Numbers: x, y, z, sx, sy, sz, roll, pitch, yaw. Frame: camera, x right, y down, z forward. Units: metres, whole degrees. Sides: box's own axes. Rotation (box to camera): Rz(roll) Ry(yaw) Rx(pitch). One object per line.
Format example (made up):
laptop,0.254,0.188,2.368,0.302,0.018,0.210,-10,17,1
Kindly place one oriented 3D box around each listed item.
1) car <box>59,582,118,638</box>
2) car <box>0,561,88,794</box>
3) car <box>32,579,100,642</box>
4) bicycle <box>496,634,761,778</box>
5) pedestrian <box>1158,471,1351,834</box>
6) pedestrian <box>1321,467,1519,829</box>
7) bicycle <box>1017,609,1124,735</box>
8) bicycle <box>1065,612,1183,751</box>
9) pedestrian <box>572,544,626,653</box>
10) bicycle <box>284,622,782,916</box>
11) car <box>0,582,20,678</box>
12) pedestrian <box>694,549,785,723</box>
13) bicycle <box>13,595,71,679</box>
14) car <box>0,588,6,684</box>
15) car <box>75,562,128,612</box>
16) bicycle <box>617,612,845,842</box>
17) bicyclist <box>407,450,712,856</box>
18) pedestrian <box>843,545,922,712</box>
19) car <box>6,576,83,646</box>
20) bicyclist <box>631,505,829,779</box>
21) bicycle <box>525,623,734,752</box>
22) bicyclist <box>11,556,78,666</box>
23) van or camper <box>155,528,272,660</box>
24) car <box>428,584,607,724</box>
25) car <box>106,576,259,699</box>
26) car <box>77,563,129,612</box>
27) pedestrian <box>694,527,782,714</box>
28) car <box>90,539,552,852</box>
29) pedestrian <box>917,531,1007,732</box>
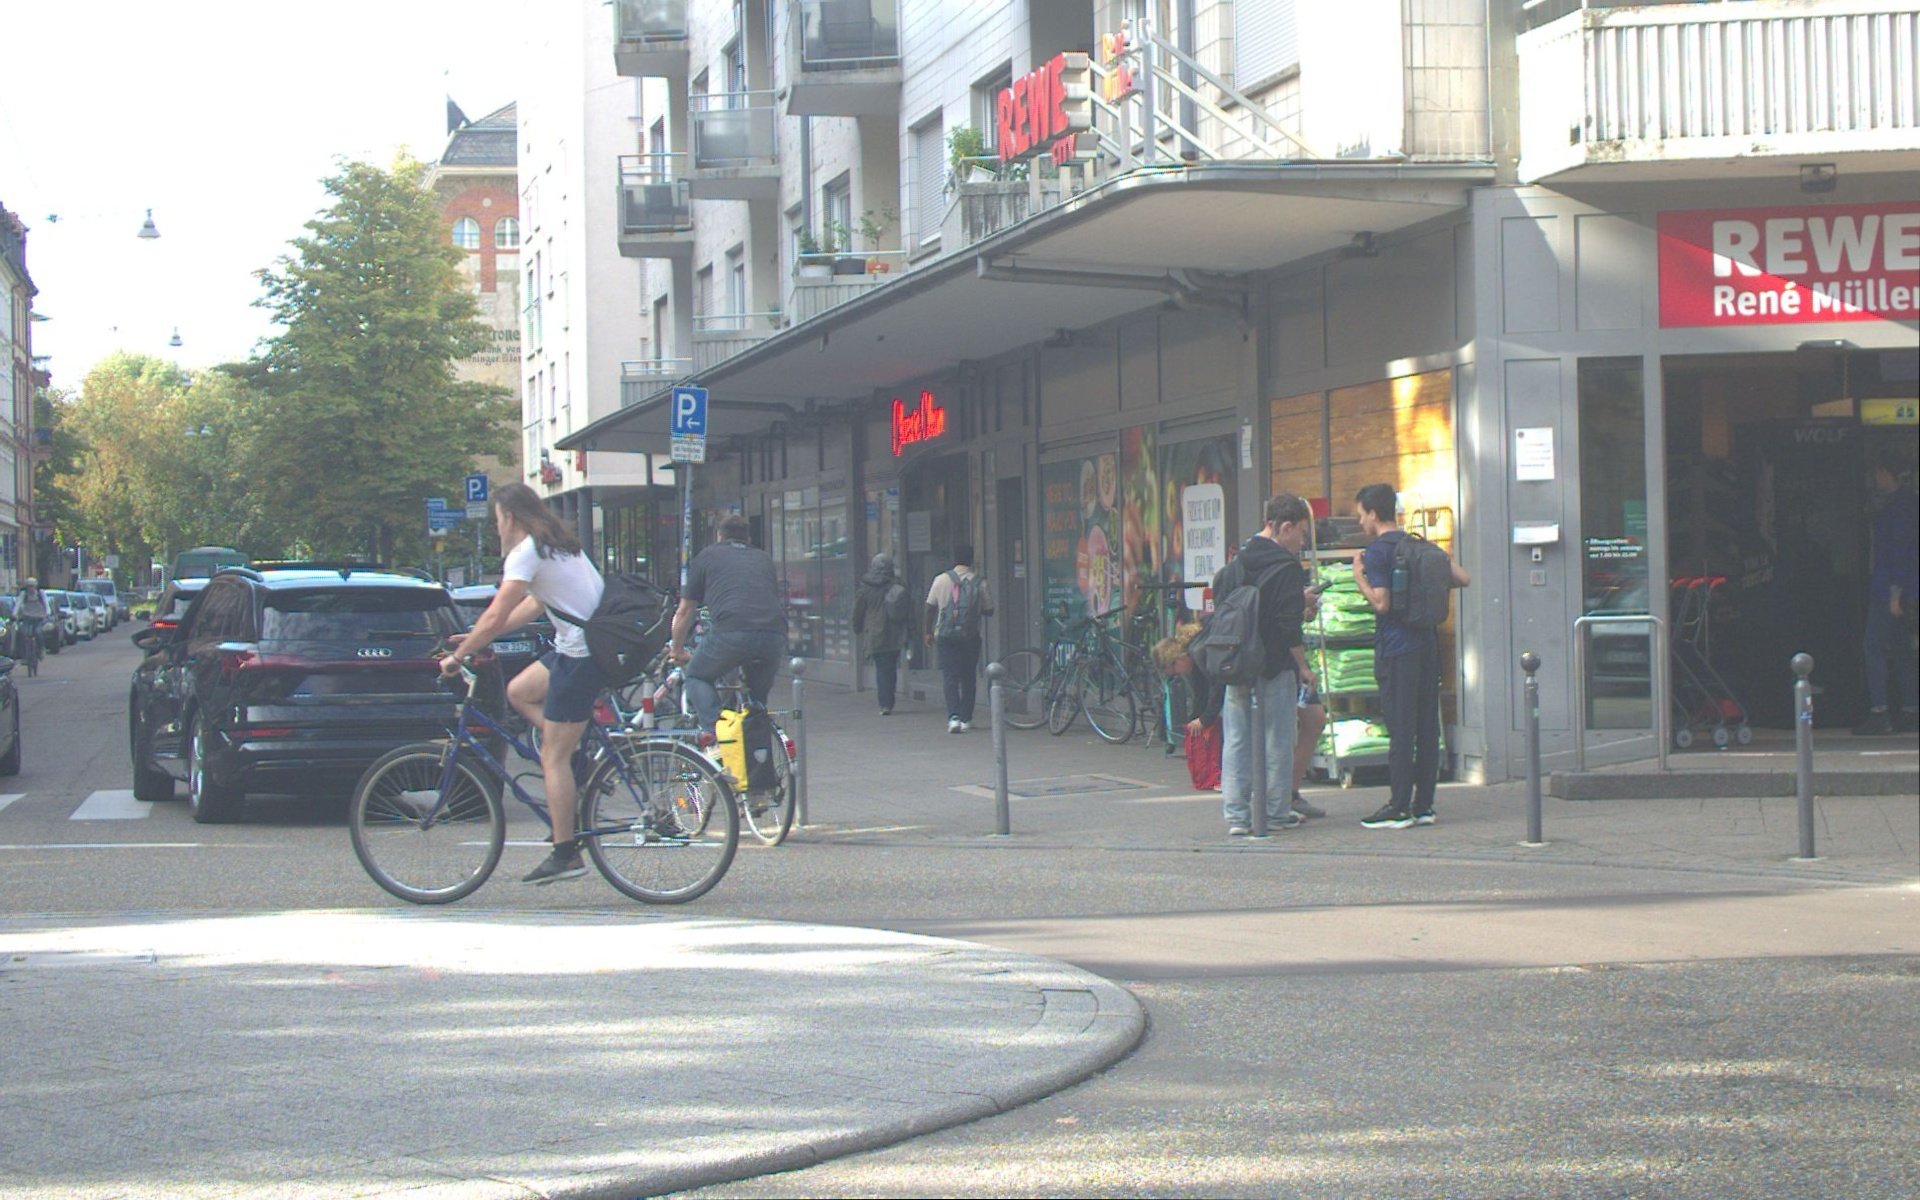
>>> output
car,-32.661,0.364,128.920,1.993,2.007,4.001,-1,1,-12
car,-8.279,0.593,27.706,1.927,1.719,4.737,-3,1,-9
car,-29.699,0.340,114.274,1.993,2.007,4.001,-1,1,-12
bicycle,-2.584,0.818,26.792,2.000,1.042,0.532,-1,0,-9
pedestrian,1.531,0.265,17.946,0.868,1.845,0.612,-1,0,-7
pedestrian,2.404,0.243,18.012,0.868,1.845,0.612,-1,0,-7
bicycle,0.909,0.580,28.593,0.360,0.995,1.716,-1,1,-16
bicycle,1.241,0.609,26.253,0.362,1.013,1.431,-1,1,-20
pedestrian,-6.783,-0.033,64.503,0.900,2.007,0.735,-1,0,-11
bicycle,-1.815,0.714,14.694,1.970,1.195,0.712,-1,0,12
car,-21.364,0.635,73.957,1.993,2.007,4.001,-1,1,-13
pedestrian,-2.077,0.333,32.497,0.730,1.605,0.790,-1,1,3
bicycle,-17.029,0.668,63.737,0.925,1.484,3.465,1,0,-16
car,-18.174,0.755,60.852,1.927,1.718,4.289,-3,2,-9
car,-35.642,-0.552,142.761,1.993,2.007,4.001,-1,1,-12
bicycle,-1.310,0.664,19.106,0.665,1.174,2.498,0,0,-18
bicyclist,-1.693,0.219,14.668,1.013,1.663,0.943,-1,0,12
pedestrian,-0.763,0.275,33.990,0.745,1.623,0.812,-1,0,-1
car,-27.149,0.305,102.092,1.993,2.007,4.001,-1,1,-12
bicyclist,-1.279,0.228,19.050,0.933,1.479,0.747,0,0,-18
bicycle,-2.813,0.732,29.410,0.680,1.023,1.786,-1,1,41
bicyclist,-16.977,0.202,63.735,1.132,1.991,1.028,1,0,-16
van or camper,-17.851,-0.153,82.089,2.530,3.027,4.460,-1,1,-14
car,-4.812,0.540,37.035,1.645,1.320,3.577,-4,1,-10
car,-11.012,0.496,48.909,1.809,1.482,4.164,-3,2,-9
car,-36.792,-0.550,147.619,1.993,2.007,4.001,-1,1,-12
pedestrian,-2.248,0.196,34.951,0.730,1.858,1.062,-1,1,3
car,-4.348,0.514,22.728,2.035,1.718,4.847,-3,2,-21
pedestrian,0.009,0.266,29.895,0.740,1.707,0.733,-1,0,-1
